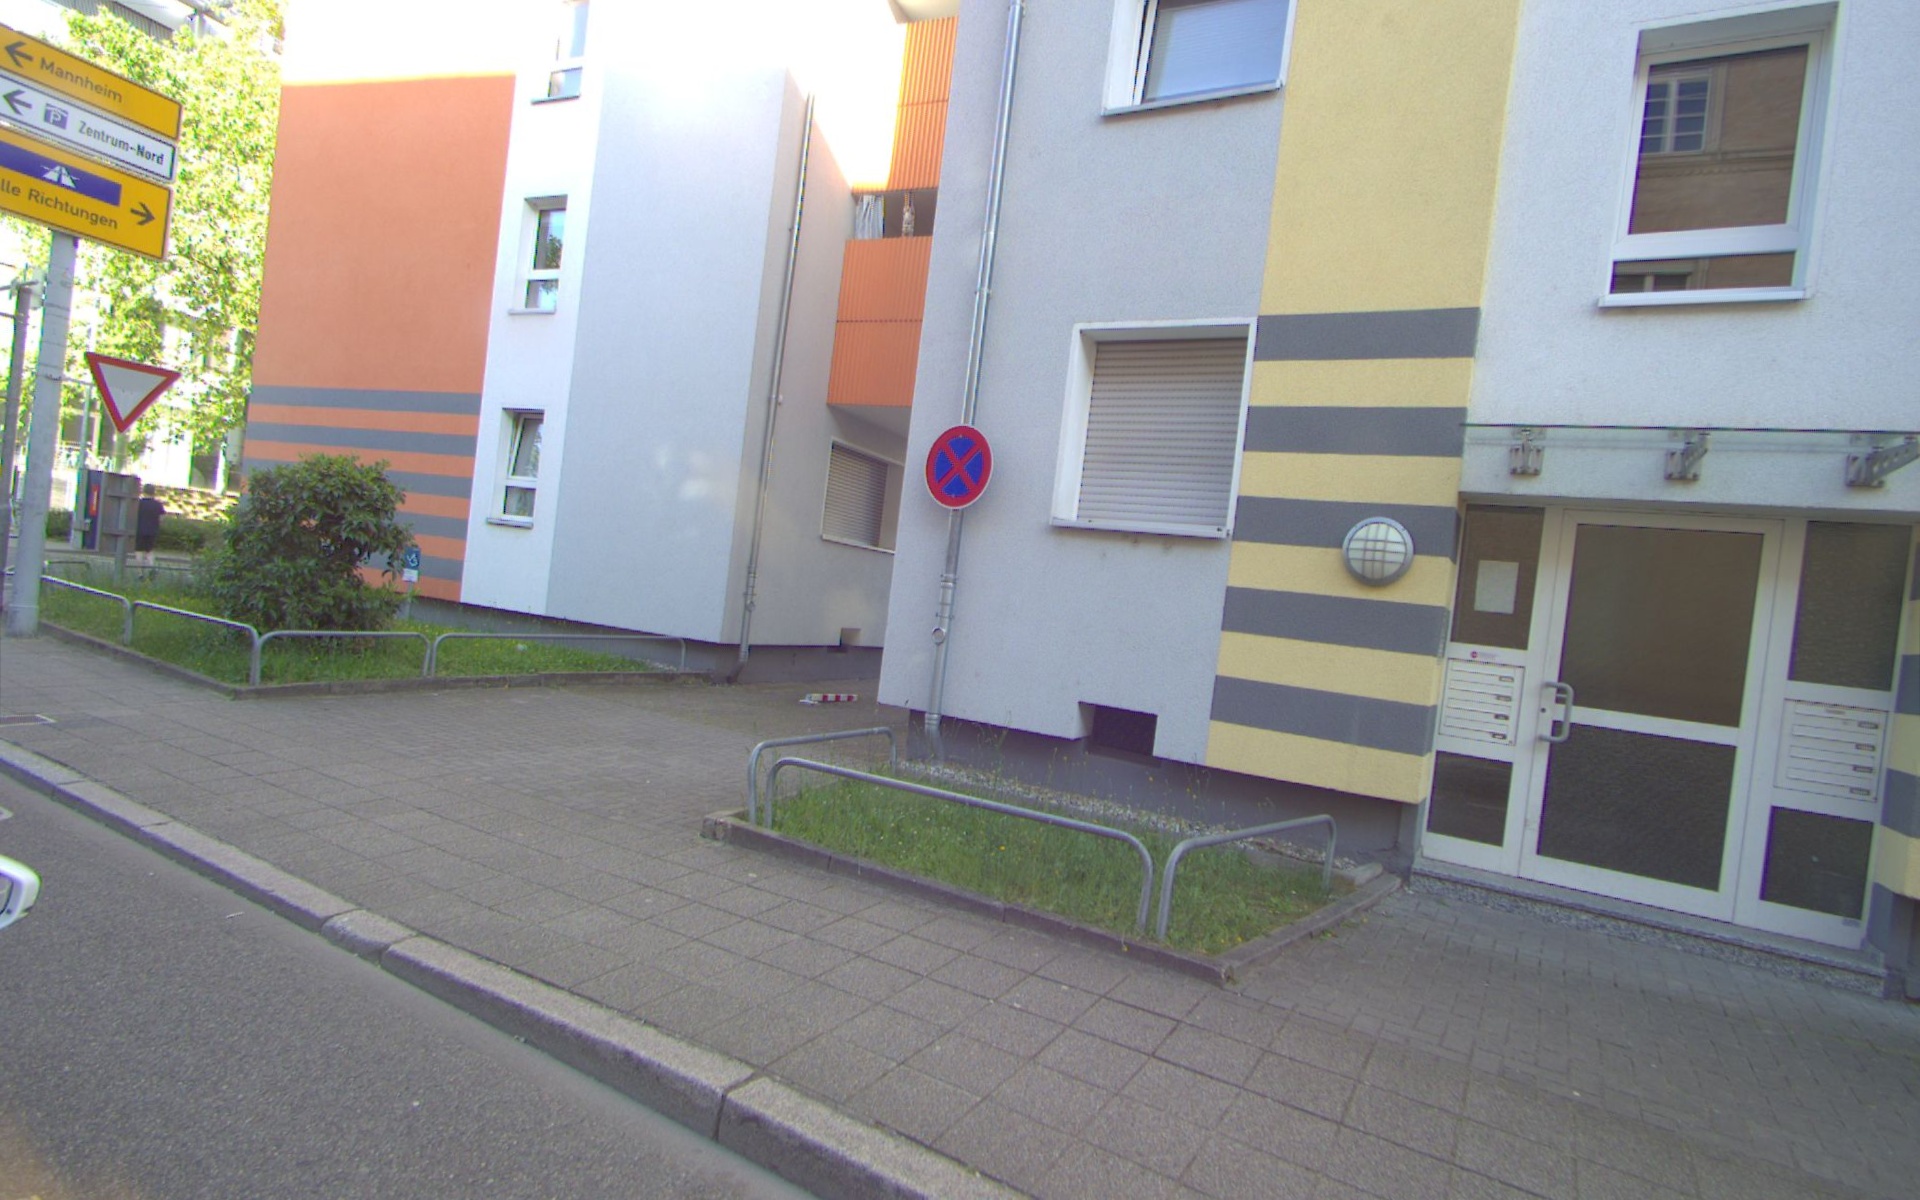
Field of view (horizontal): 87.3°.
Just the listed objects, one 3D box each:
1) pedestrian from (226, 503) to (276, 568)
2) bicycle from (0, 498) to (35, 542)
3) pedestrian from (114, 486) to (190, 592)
[{"bbox_3d":[-22.042,-1.989,31.285,0.696,1.861,0.837,8,-1,22],"label":"pedestrian"},{"bbox_3d":[-26.304,-2.241,27.362,1.658,1.063,0.508,9,2,-3],"label":"bicycle"},{"bbox_3d":[-15.317,-1.154,19.069,0.823,1.861,0.708,8,-1,32],"label":"pedestrian"}]
